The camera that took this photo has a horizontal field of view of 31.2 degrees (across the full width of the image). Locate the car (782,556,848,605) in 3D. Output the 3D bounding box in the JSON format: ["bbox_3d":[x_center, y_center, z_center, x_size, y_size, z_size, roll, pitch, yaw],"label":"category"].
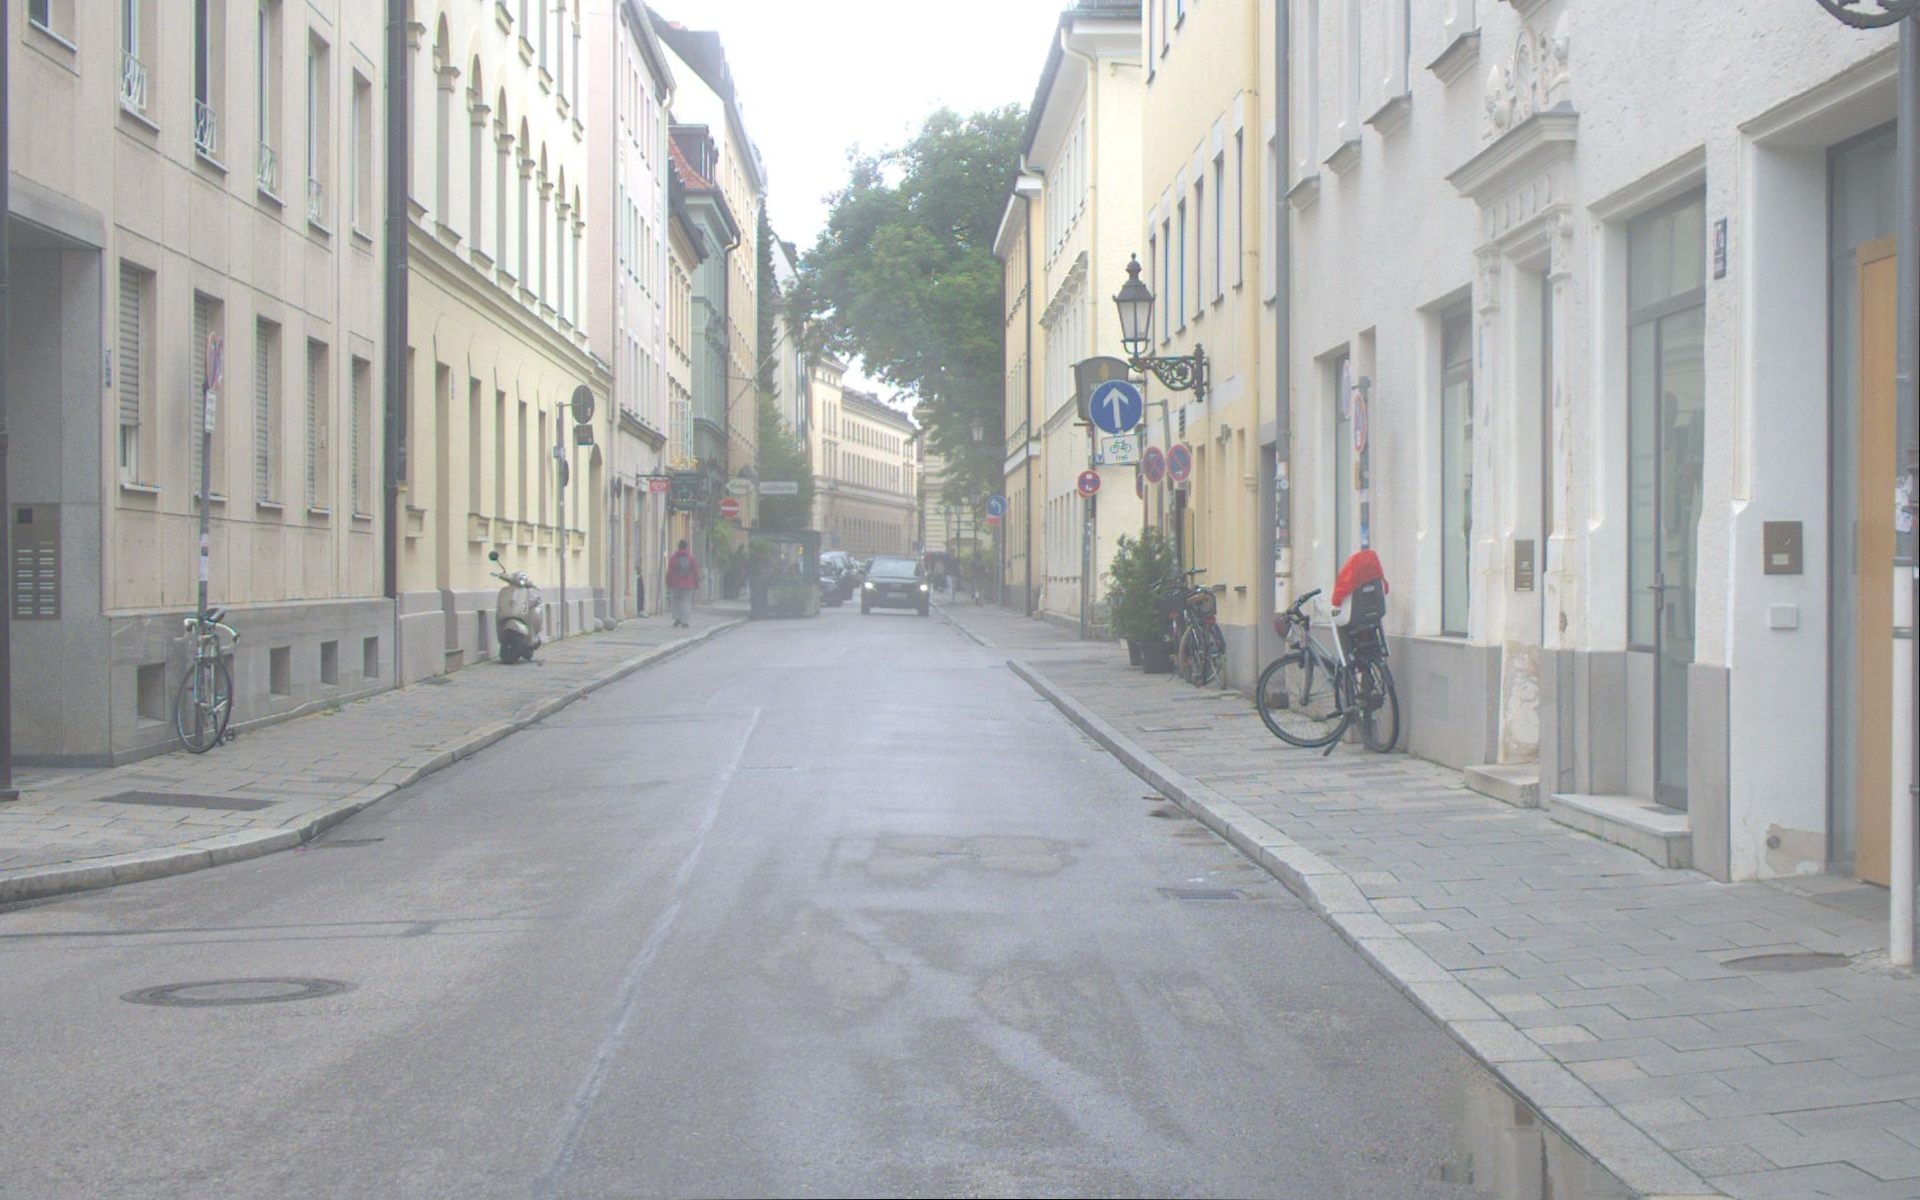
[{"bbox_3d":[-4.467,-0.620,106.366,1.779,1.461,3.662,1,1,2],"label":"car"}]

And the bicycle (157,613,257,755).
[{"bbox_3d":[-5.395,0.586,24.678,0.320,0.940,1.574,3,1,0],"label":"bicycle"}]

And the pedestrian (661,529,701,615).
[{"bbox_3d":[-5.511,-0.556,67.930,0.765,1.702,0.785,0,1,-3],"label":"pedestrian"}]

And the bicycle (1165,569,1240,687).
[{"bbox_3d":[2.452,0.269,34.943,0.565,1.133,1.988,-2,1,0],"label":"bicycle"}]

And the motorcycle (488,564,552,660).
[{"bbox_3d":[-5.484,0.139,42.906,0.602,1.170,1.709,1,1,-1],"label":"motorcycle"}]

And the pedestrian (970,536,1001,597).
[{"bbox_3d":[0.760,-1.013,102.551,0.880,1.796,1.046,1,1,0],"label":"pedestrian"}]

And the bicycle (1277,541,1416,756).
[{"bbox_3d":[2.661,0.304,23.857,0.713,1.391,2.122,-3,1,1],"label":"bicycle"}]

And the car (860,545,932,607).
[{"bbox_3d":[-1.710,-0.646,90.576,1.812,1.588,4.000,0,1,-2],"label":"car"}]

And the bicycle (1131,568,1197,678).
[{"bbox_3d":[2.197,0.238,37.160,0.565,1.133,1.684,-2,1,0],"label":"bicycle"}]

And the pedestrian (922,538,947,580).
[{"bbox_3d":[-1.080,-1.754,147.009,1.015,1.796,1.349,1,1,0],"label":"pedestrian"}]
